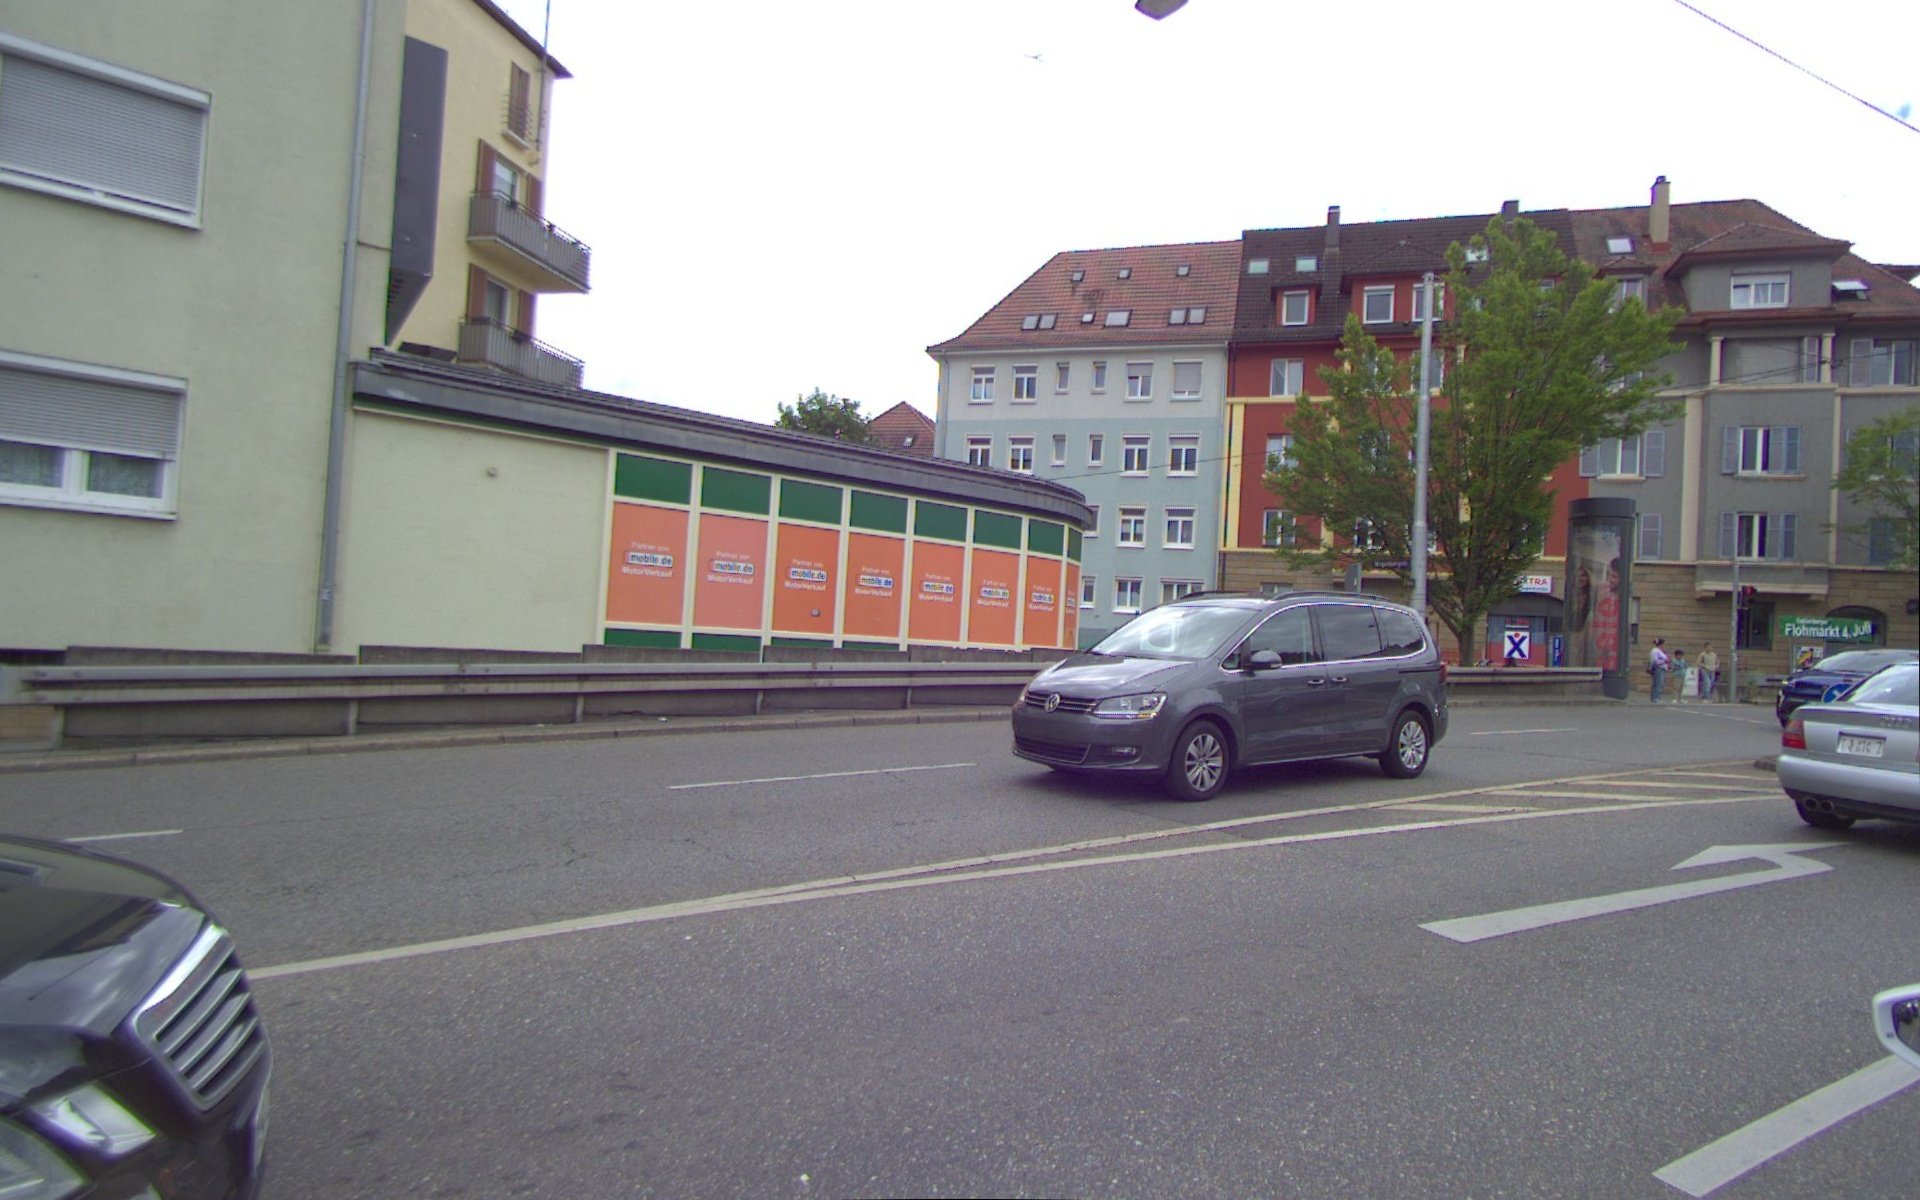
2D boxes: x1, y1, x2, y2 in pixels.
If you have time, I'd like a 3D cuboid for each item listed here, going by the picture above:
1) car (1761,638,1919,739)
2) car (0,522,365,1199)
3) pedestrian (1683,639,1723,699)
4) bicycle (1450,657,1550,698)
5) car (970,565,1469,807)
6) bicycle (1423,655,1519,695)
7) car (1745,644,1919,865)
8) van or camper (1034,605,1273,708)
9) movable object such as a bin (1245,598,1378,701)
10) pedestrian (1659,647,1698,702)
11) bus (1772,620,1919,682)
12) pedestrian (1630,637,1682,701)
[{"bbox_3d":[16.294,1.529,17.821,3.984,1.551,1.781,3,-1,-27],"label":"car"},{"bbox_3d":[-3.329,0.528,0.785,4.793,1.447,1.981,3,-1,-34],"label":"car"},{"bbox_3d":[19.098,1.761,25.817,0.642,1.507,0.523,2,-1,-12],"label":"pedestrian"},{"bbox_3d":[17.515,2.529,32.593,3.307,1.218,0.816,3,-1,-19],"label":"bicycle"},{"bbox_3d":[2.554,0.718,9.344,4.671,1.737,1.892,3,-2,-35],"label":"car"},{"bbox_3d":[17.171,2.517,33.738,3.307,1.218,0.816,3,-1,-19],"label":"bicycle"},{"bbox_3d":[8.050,1.111,7.609,4.072,1.383,1.624,2,0,-25],"label":"car"},{"bbox_3d":[5.269,1.455,27.226,5.889,2.369,2.688,2,-1,22],"label":"van or camper"},{"bbox_3d":[7.668,1.053,21.745,1.361,2.040,3.515,0,-2,44],"label":"movable object such as a bin"},{"bbox_3d":[18.425,1.907,25.761,0.574,1.356,0.575,2,-1,-11],"label":"pedestrian"},{"bbox_3d":[51.428,2.793,57.153,3.103,3.137,12.159,2,-1,13],"label":"bus"},{"bbox_3d":[17.644,1.747,25.473,0.725,1.567,0.793,2,-1,-11],"label":"pedestrian"}]
